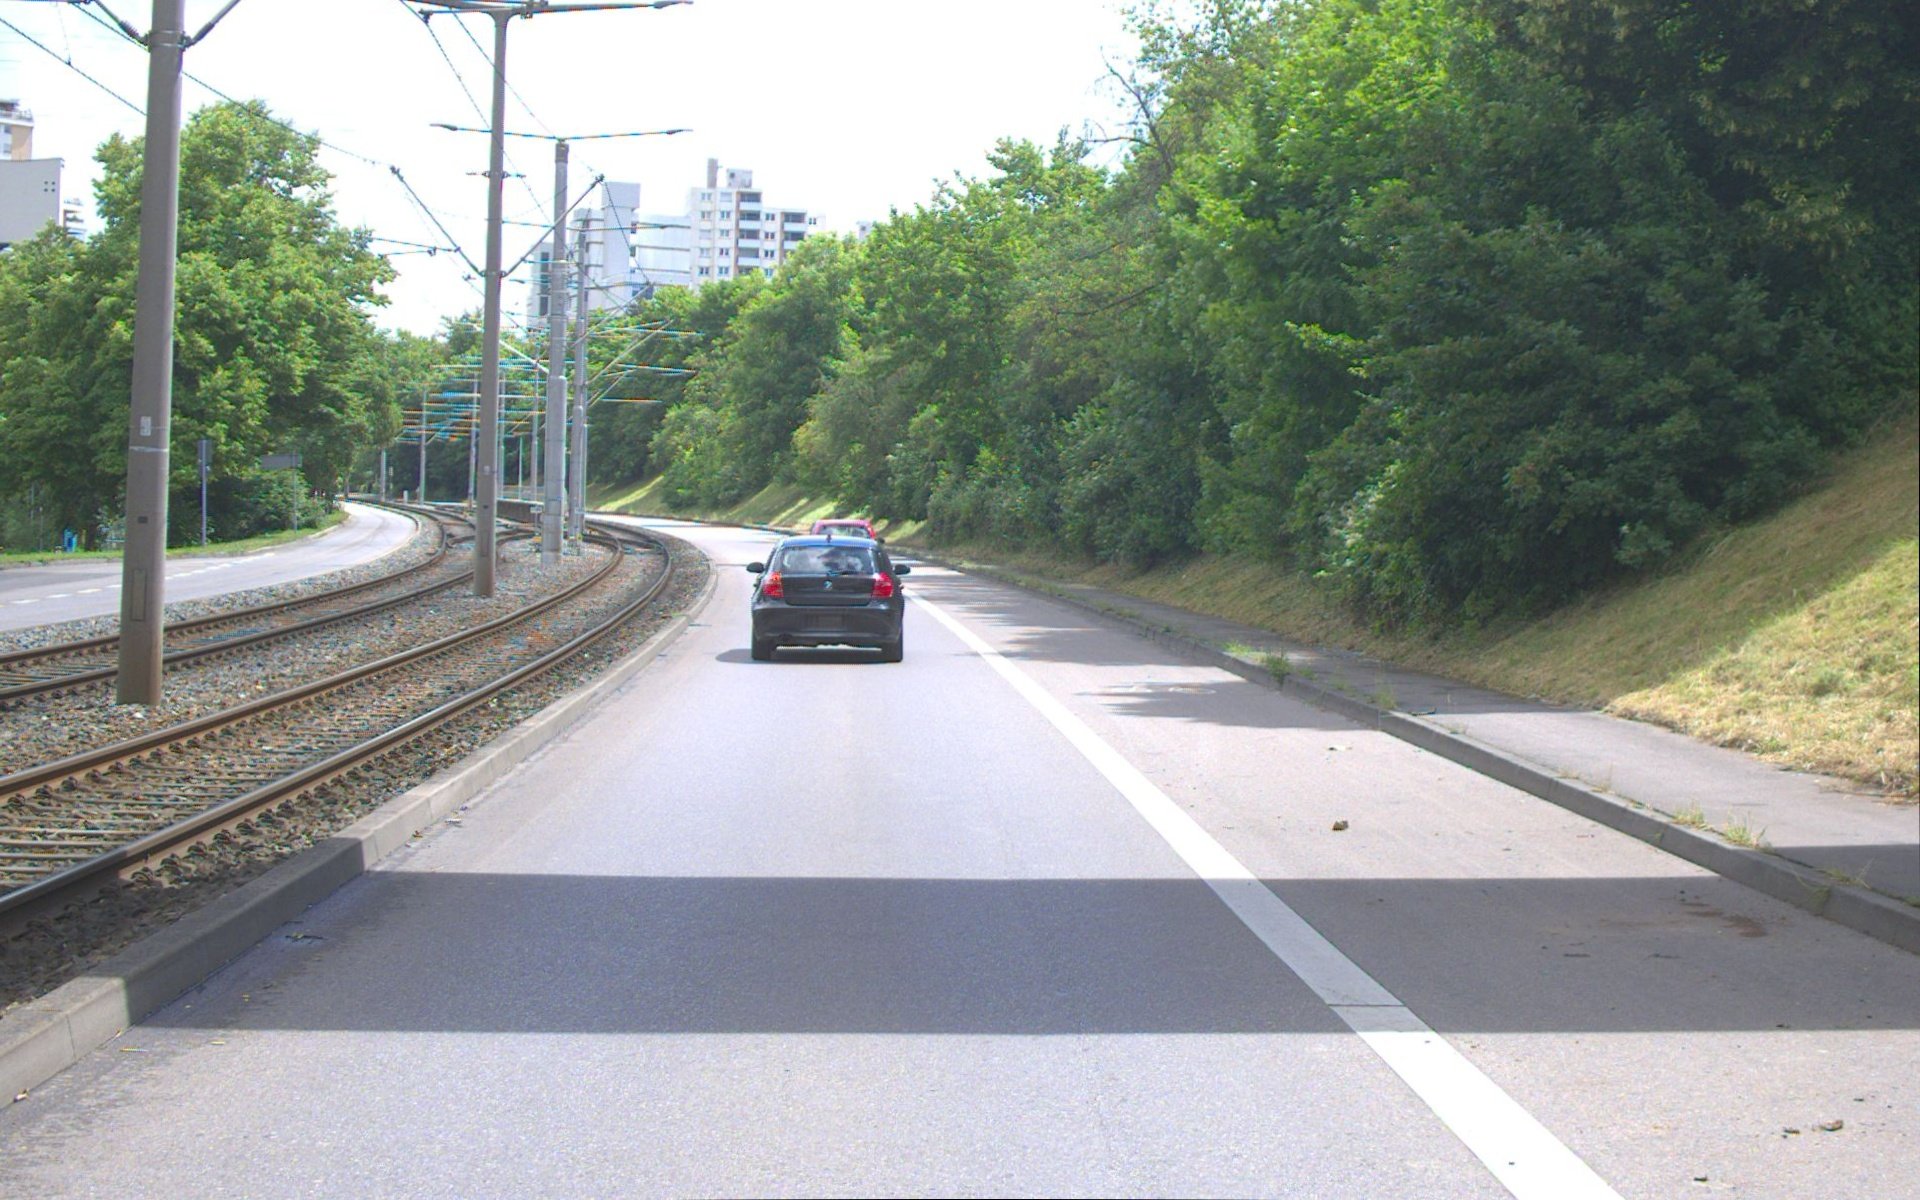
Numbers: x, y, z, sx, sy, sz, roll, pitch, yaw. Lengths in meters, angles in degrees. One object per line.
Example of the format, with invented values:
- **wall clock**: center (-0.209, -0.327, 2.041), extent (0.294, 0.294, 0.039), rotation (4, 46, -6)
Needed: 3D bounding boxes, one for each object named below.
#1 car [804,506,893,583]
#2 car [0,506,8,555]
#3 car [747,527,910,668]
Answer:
- **car**: center (-2.301, -1.141, 71.648), extent (1.624, 1.438, 3.421), rotation (3, 0, 1)
- **car**: center (-35.935, -2.535, 125.320), extent (1.815, 1.765, 4.001), rotation (0, 2, -7)
- **car**: center (-1.480, -0.057, 39.766), extent (1.708, 1.455, 3.960), rotation (3, 1, -1)
